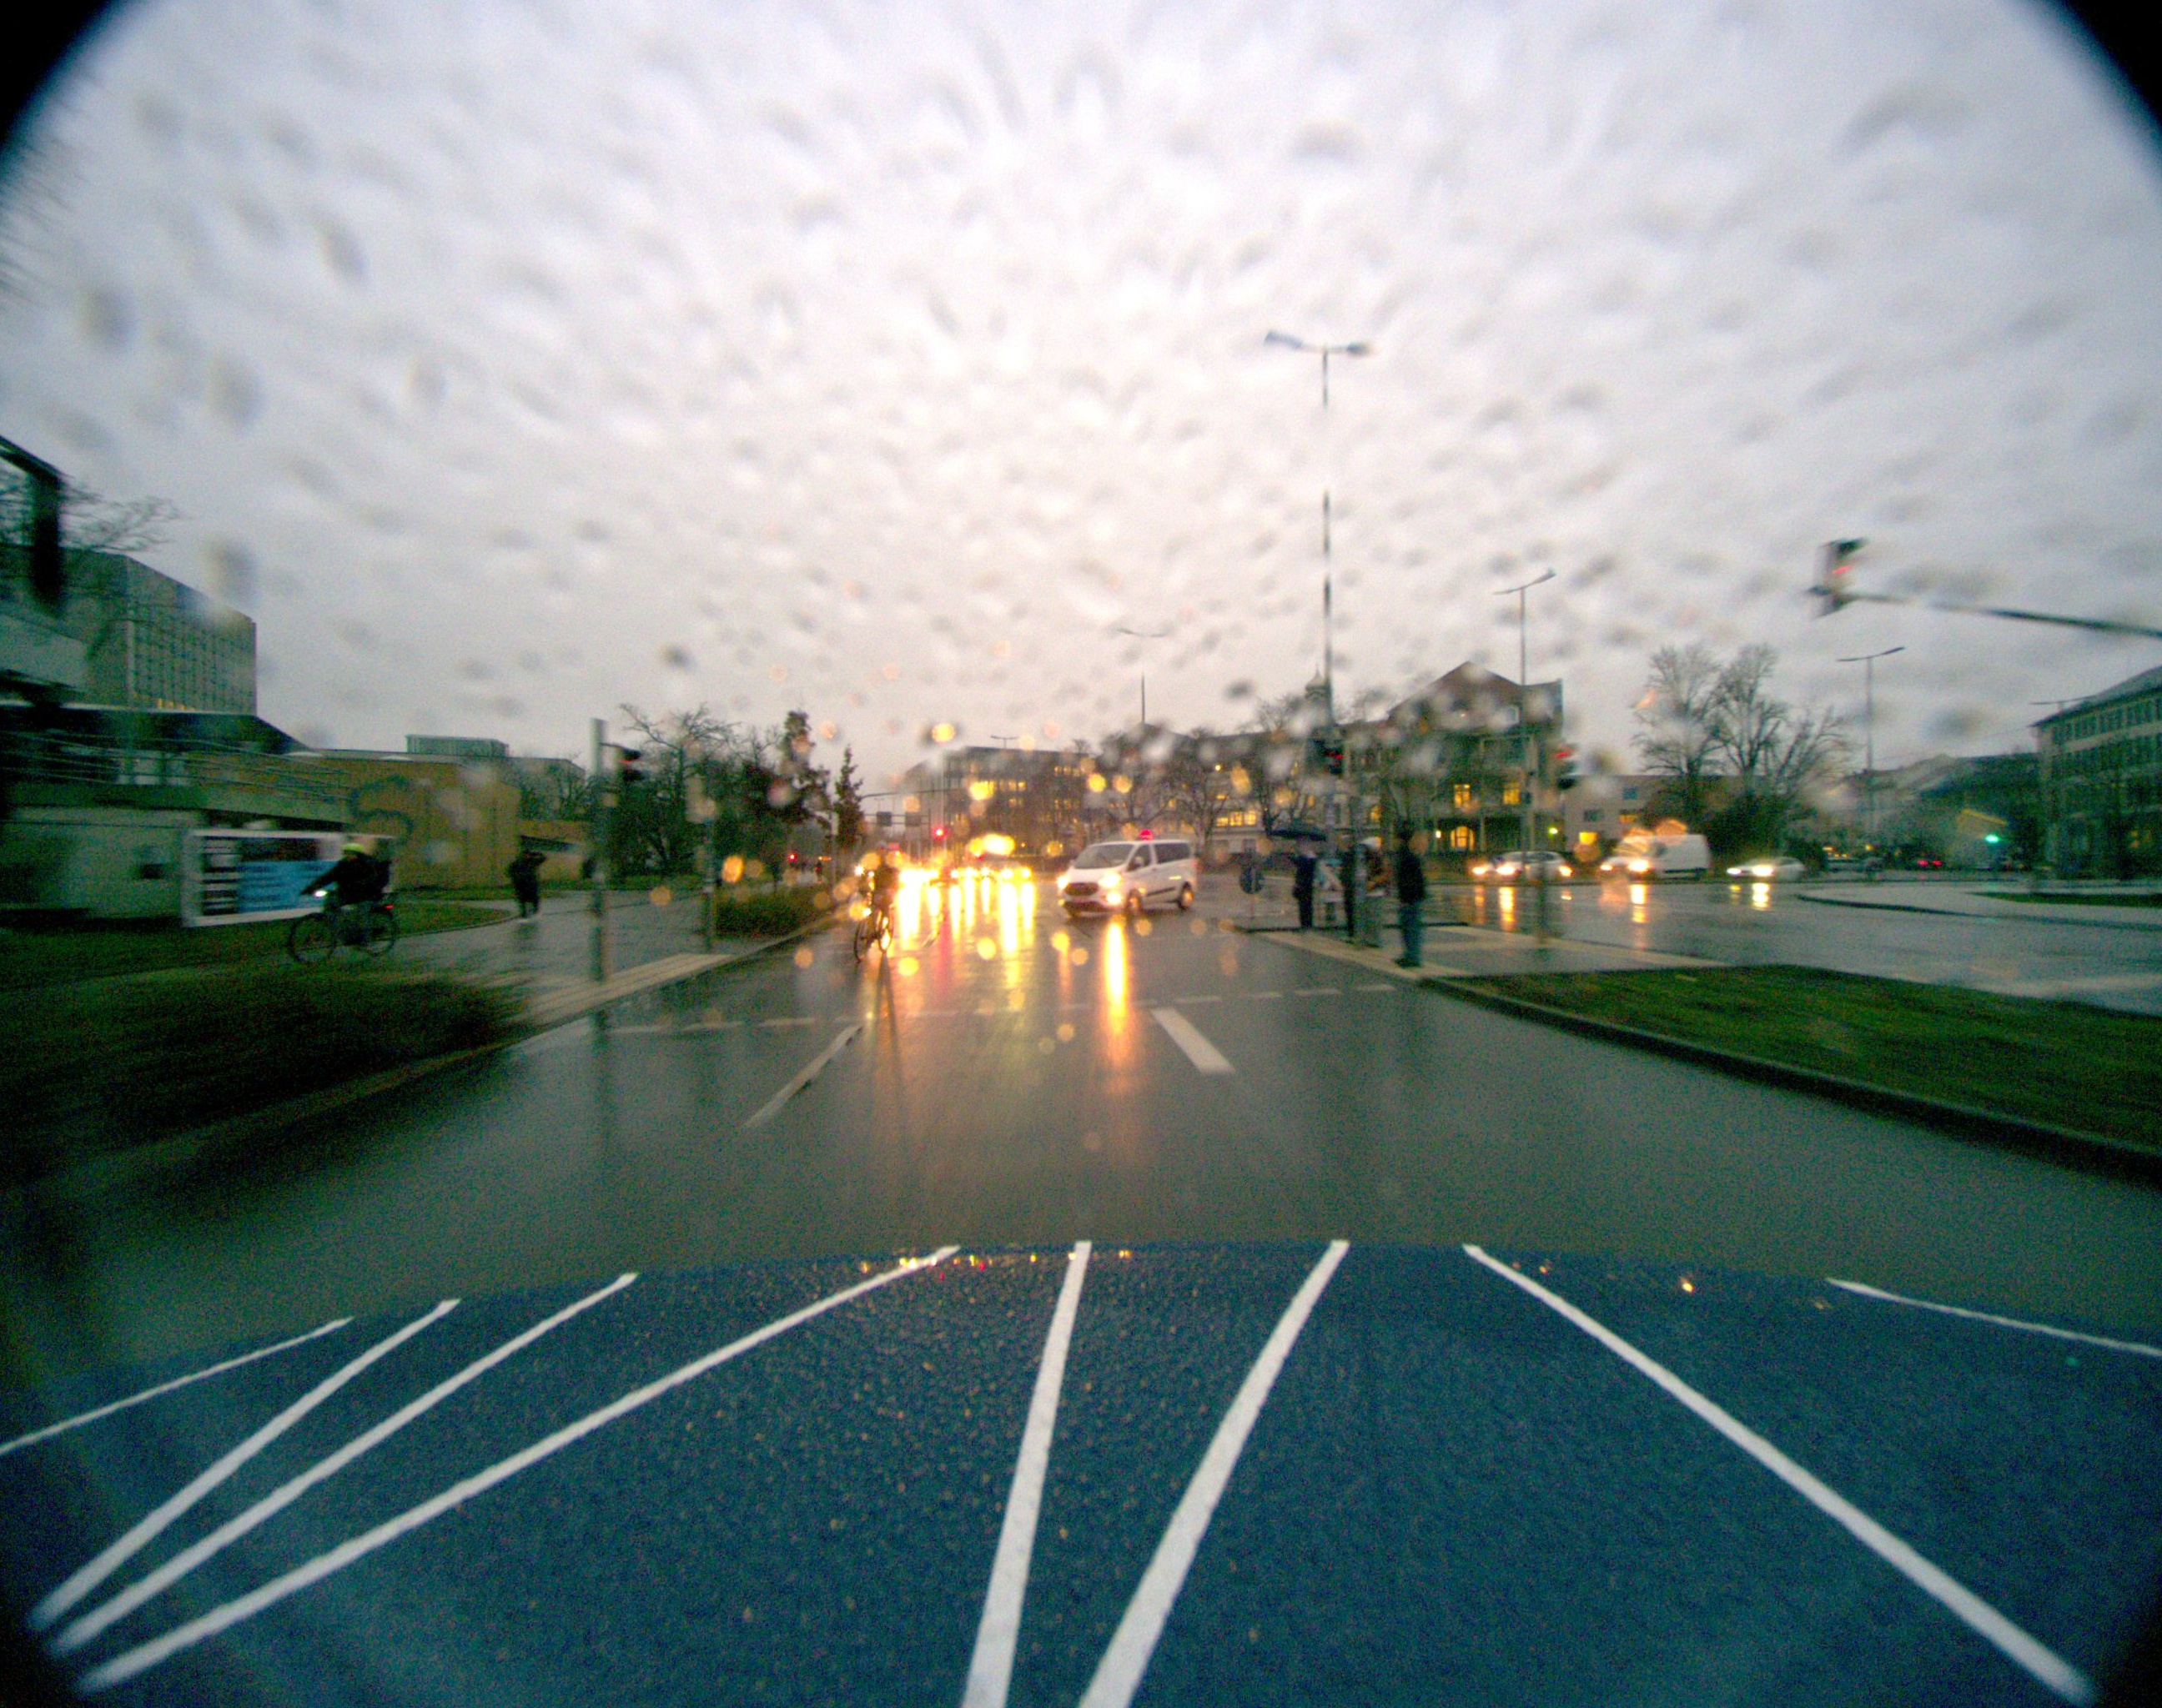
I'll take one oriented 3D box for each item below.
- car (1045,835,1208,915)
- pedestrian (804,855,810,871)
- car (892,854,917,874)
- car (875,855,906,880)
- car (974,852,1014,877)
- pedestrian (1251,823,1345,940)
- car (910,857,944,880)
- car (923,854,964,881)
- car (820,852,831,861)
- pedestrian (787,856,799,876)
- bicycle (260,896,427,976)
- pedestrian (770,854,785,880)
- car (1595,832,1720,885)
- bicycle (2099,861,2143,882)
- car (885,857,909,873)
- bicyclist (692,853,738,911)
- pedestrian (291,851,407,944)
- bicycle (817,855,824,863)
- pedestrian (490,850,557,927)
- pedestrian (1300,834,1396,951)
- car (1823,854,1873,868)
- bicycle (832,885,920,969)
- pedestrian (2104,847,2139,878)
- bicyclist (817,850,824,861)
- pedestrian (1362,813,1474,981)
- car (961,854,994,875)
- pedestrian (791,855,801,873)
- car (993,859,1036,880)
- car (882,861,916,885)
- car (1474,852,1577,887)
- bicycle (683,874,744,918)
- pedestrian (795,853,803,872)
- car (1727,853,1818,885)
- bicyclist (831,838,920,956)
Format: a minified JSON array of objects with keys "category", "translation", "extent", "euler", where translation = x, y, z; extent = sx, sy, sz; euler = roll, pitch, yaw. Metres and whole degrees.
[{"category":"car","translation":[1.392,0.603,20.930],"extent":[2.132,1.909,5.028],"euler":[-2,-3,35]},{"category":"pedestrian","translation":[-35.400,1.125,98.205],"extent":[0.767,2.002,0.771],"euler":[0,1,-21]},{"category":"car","translation":[-17.724,0.960,76.261],"extent":[2.002,1.912,4.260],"euler":[0,0,-19]},{"category":"car","translation":[-14.542,1.034,57.922],"extent":[2.002,1.827,3.994],"euler":[0,0,-18]},{"category":"car","translation":[-6.977,0.832,60.531],"extent":[2.003,1.739,4.463],"euler":[7,-2,-19]},{"category":"pedestrian","translation":[3.959,0.502,13.897],"extent":[1.217,2.037,1.033],"euler":[0,-2,-28]},{"category":"car","translation":[-12.156,1.124,59.666],"extent":[2.002,1.739,4.463],"euler":[0,0,-19]},{"category":"car","translation":[-9.534,0.907,52.375],"extent":[2.002,1.739,4.937],"euler":[0,0,-19]},{"category":"car","translation":[-53.167,0.549,158.054],"extent":[2.145,1.805,3.993],"euler":[0,0,-20]},{"category":"pedestrian","translation":[-25.538,1.075,67.389],"extent":[0.934,1.815,0.832],"euler":[0,0,-20]},{"category":"bicycle","translation":[-10.741,1.154,11.181],"extent":[0.563,0.941,2.094],"euler":[0,0,-5]},{"category":"pedestrian","translation":[-21.165,0.911,53.036],"extent":[0.934,1.815,0.832],"euler":[0,0,-20]},{"category":"car","translation":[28.925,0.252,38.123],"extent":[5.875,2.502,2.344],"euler":[0,-2,-23]},{"category":"bicycle","translation":[58.078,0.982,42.444],"extent":[1.873,1.169,0.623],"euler":[0,2,-9]},{"category":"car","translation":[-19.941,1.192,82.169],"extent":[2.002,1.558,4.753],"euler":[1,0,-19]},{"category":"bicyclist","translation":[-10.574,0.810,22.010],"extent":[0.806,1.608,1.085],"euler":[3,0,-6]},{"category":"pedestrian","translation":[-10.713,0.609,11.156],"extent":[0.877,1.309,0.848],"euler":[0,1,-2]},{"category":"bicycle","translation":[-33.745,0.698,98.435],"extent":[0.795,1.009,2.899],"euler":[0,-1,-19]},{"category":"pedestrian","translation":[-12.652,0.783,17.281],"extent":[0.913,1.677,0.926],"euler":[1,-2,-17]},{"category":"pedestrian","translation":[4.437,0.631,12.658],"extent":[1.037,1.846,1.068],"euler":[1,-3,-35]},{"category":"car","translation":[97.181,0.883,96.324],"extent":[3.992,1.739,1.975],"euler":[0,0,14]},{"category":"bicycle","translation":[-3.404,1.186,12.813],"extent":[0.794,1.215,1.905],"euler":[-2,0,5]},{"category":"pedestrian","translation":[58.088,0.461,42.411],"extent":[0.982,1.724,0.717],"euler":[0,1,-8]},{"category":"bicyclist","translation":[-33.772,0.189,98.497],"extent":[0.768,1.481,0.993],"euler":[0,1,-19]},{"category":"pedestrian","translation":[4.239,0.531,9.652],"extent":[0.848,1.993,1.110],"euler":[-1,-2,-3]},{"category":"car","translation":[-9.121,0.906,66.439],"extent":[2.002,1.739,4.463],"euler":[1,0,-19]},{"category":"pedestrian","translation":[-28.103,1.004,74.887],"extent":[0.934,1.815,0.832],"euler":[0,0,-20]},{"category":"car","translation":[-4.724,1.040,53.085],"extent":[1.934,1.368,4.491],"euler":[0,0,-19]},{"category":"car","translation":[-12.233,1.253,50.886],"extent":[1.776,1.478,4.463],"euler":[0,0,-19]},{"category":"car","translation":[20.111,0.695,34.363],"extent":[4.322,1.494,1.753],"euler":[0,-2,-23]},{"category":"bicycle","translation":[-10.565,1.176,21.947],"extent":[0.806,1.134,2.212],"euler":[3,-1,-6]},{"category":"pedestrian","translation":[-30.271,0.921,81.596],"extent":[0.767,2.002,0.909],"euler":[0,1,-21]},{"category":"car","translation":[38.120,0.790,41.864],"extent":[4.822,1.634,1.835],"euler":[0,0,-23]},{"category":"bicyclist","translation":[-3.415,0.693,12.775],"extent":[1.026,1.872,1.236],"euler":[-2,0,4]}]
